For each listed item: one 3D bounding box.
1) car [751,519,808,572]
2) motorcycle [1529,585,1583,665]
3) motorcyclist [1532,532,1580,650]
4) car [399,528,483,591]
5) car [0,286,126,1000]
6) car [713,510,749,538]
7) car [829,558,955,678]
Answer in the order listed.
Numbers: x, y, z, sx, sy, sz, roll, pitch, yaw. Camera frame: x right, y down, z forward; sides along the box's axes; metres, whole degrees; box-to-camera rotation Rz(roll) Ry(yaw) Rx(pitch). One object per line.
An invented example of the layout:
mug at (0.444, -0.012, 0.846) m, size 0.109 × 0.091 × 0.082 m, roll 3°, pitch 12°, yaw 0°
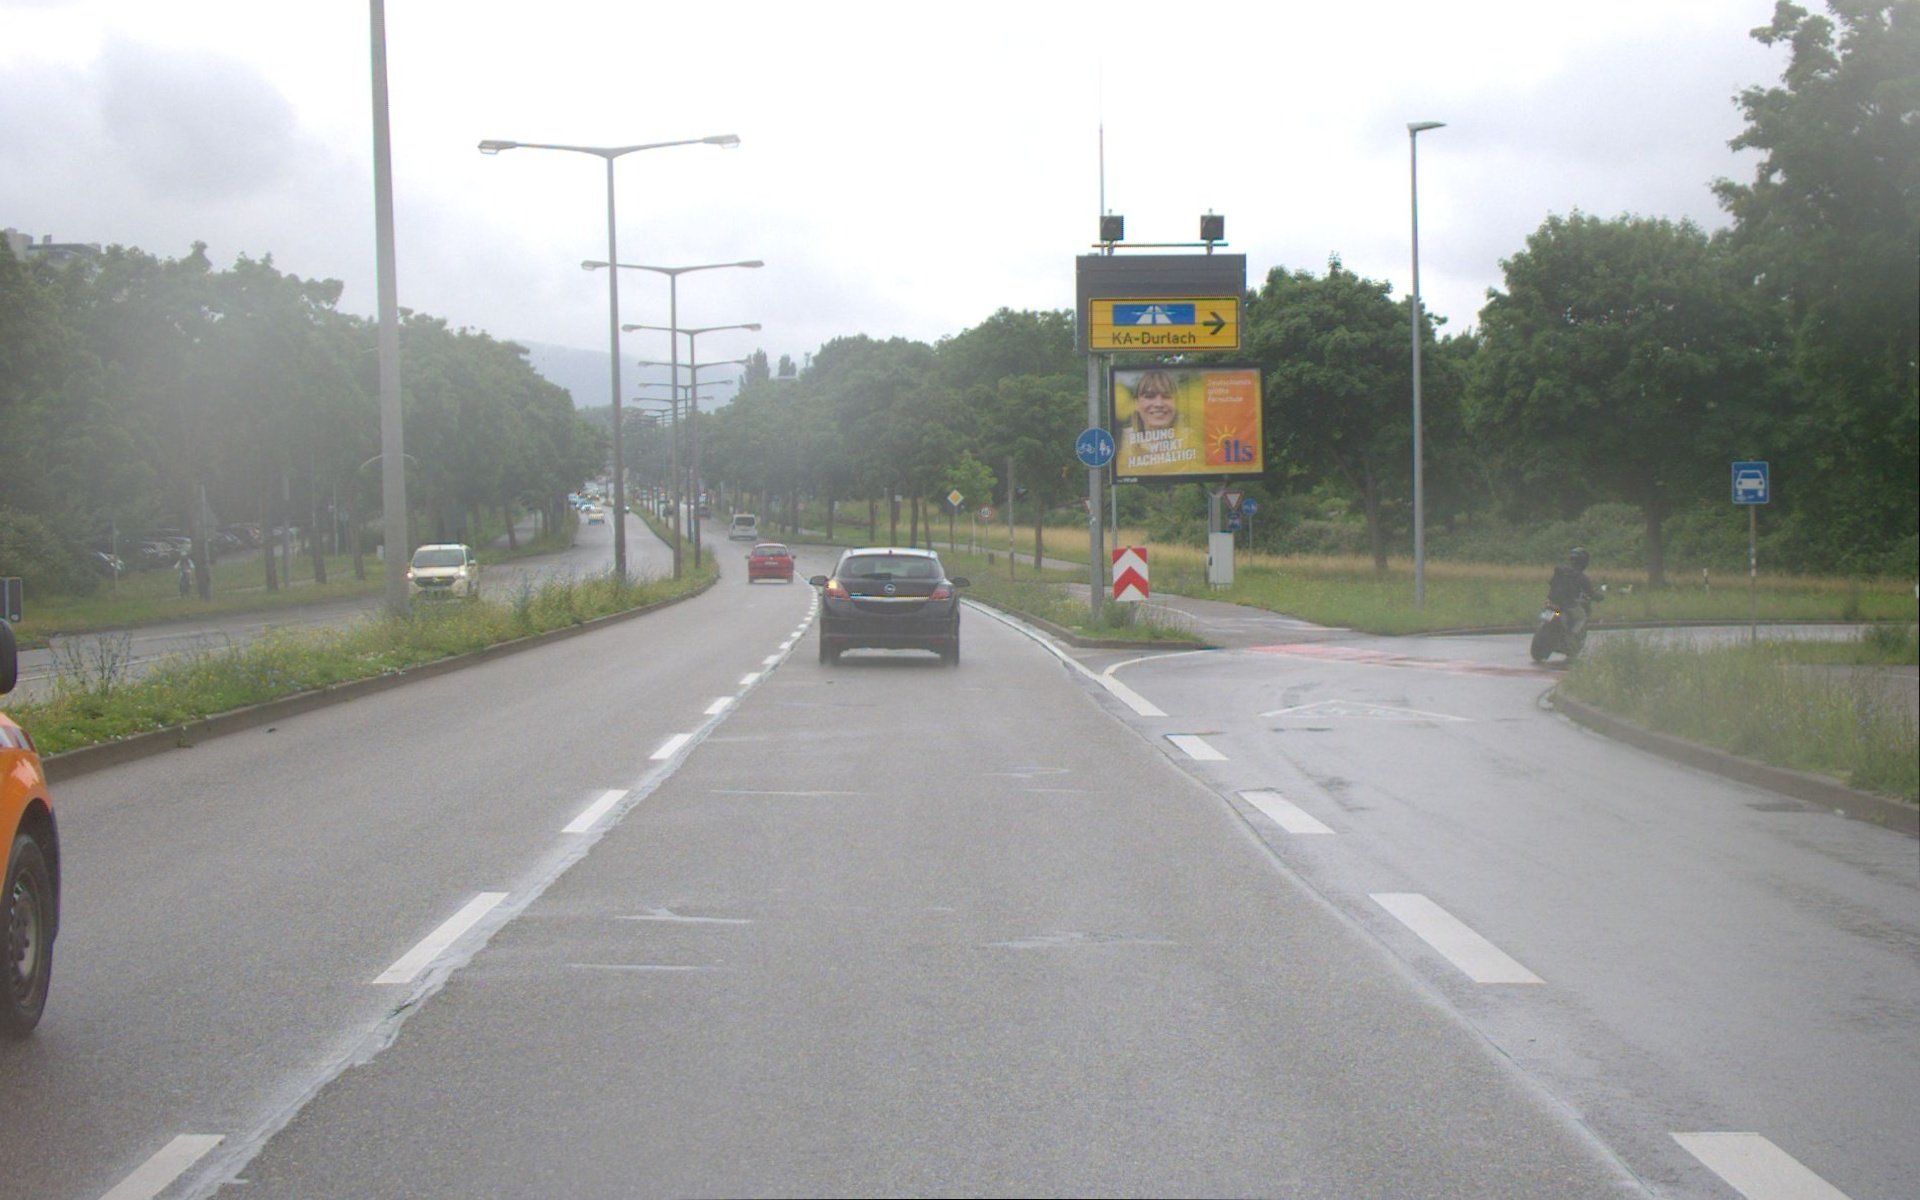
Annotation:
car at (-6.537, -1.991, 124.995) m, size 1.993 × 1.873 × 4.000 m, roll 0°, pitch 1°, yaw -2°
motorcycle at (8.667, 0.355, 49.978) m, size 0.601 × 1.089 × 1.731 m, roll 1°, pitch 2°, yaw 15°
motorcyclist at (8.658, -0.134, 49.946) m, size 0.601 × 1.684 × 0.860 m, roll 1°, pitch 2°, yaw 15°
car at (-14.341, -1.143, 95.192) m, size 1.707 × 1.624 × 4.493 m, roll -3°, pitch 1°, yaw -2°
car at (-3.551, 0.127, 8.766) m, size 1.734 × 2.012 × 4.849 m, roll 1°, pitch 1°, yaw -1°
car at (-17.168, -5.697, 257.039) m, size 2.515 × 2.045 × 5.294 m, roll -1°, pitch 1°, yaw -5°
car at (-0.864, 0.190, 42.183) m, size 1.463 × 1.324 × 3.758 m, roll 0°, pitch 2°, yaw -2°
